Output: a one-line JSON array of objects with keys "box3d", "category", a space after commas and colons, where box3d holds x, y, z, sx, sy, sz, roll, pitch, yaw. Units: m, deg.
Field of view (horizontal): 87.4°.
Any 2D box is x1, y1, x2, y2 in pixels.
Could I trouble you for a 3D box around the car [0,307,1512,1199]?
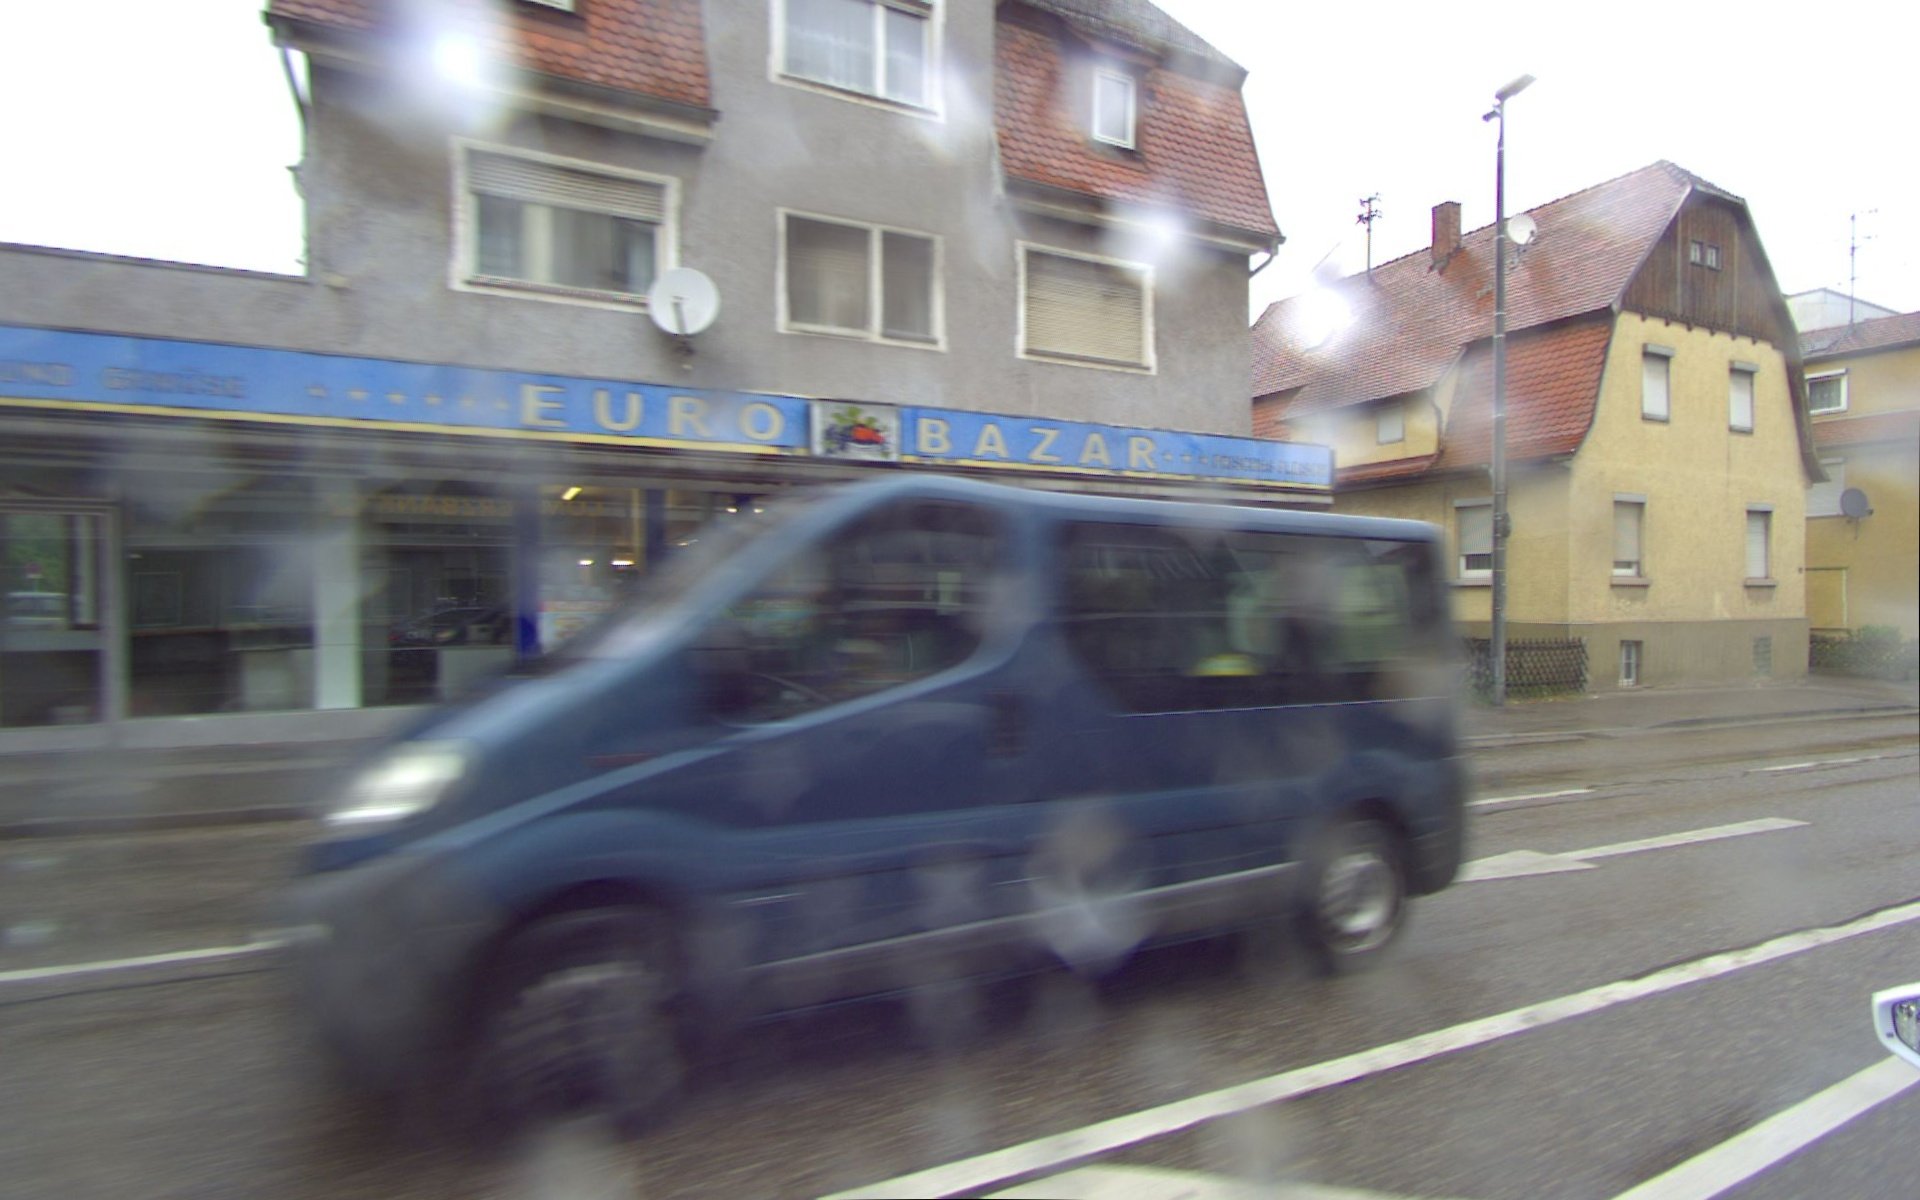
[{"box3d": [-0.156, 0.511, 4.117, 5.121, 1.963, 1.956, 2, -2, -31], "category": "car"}]
